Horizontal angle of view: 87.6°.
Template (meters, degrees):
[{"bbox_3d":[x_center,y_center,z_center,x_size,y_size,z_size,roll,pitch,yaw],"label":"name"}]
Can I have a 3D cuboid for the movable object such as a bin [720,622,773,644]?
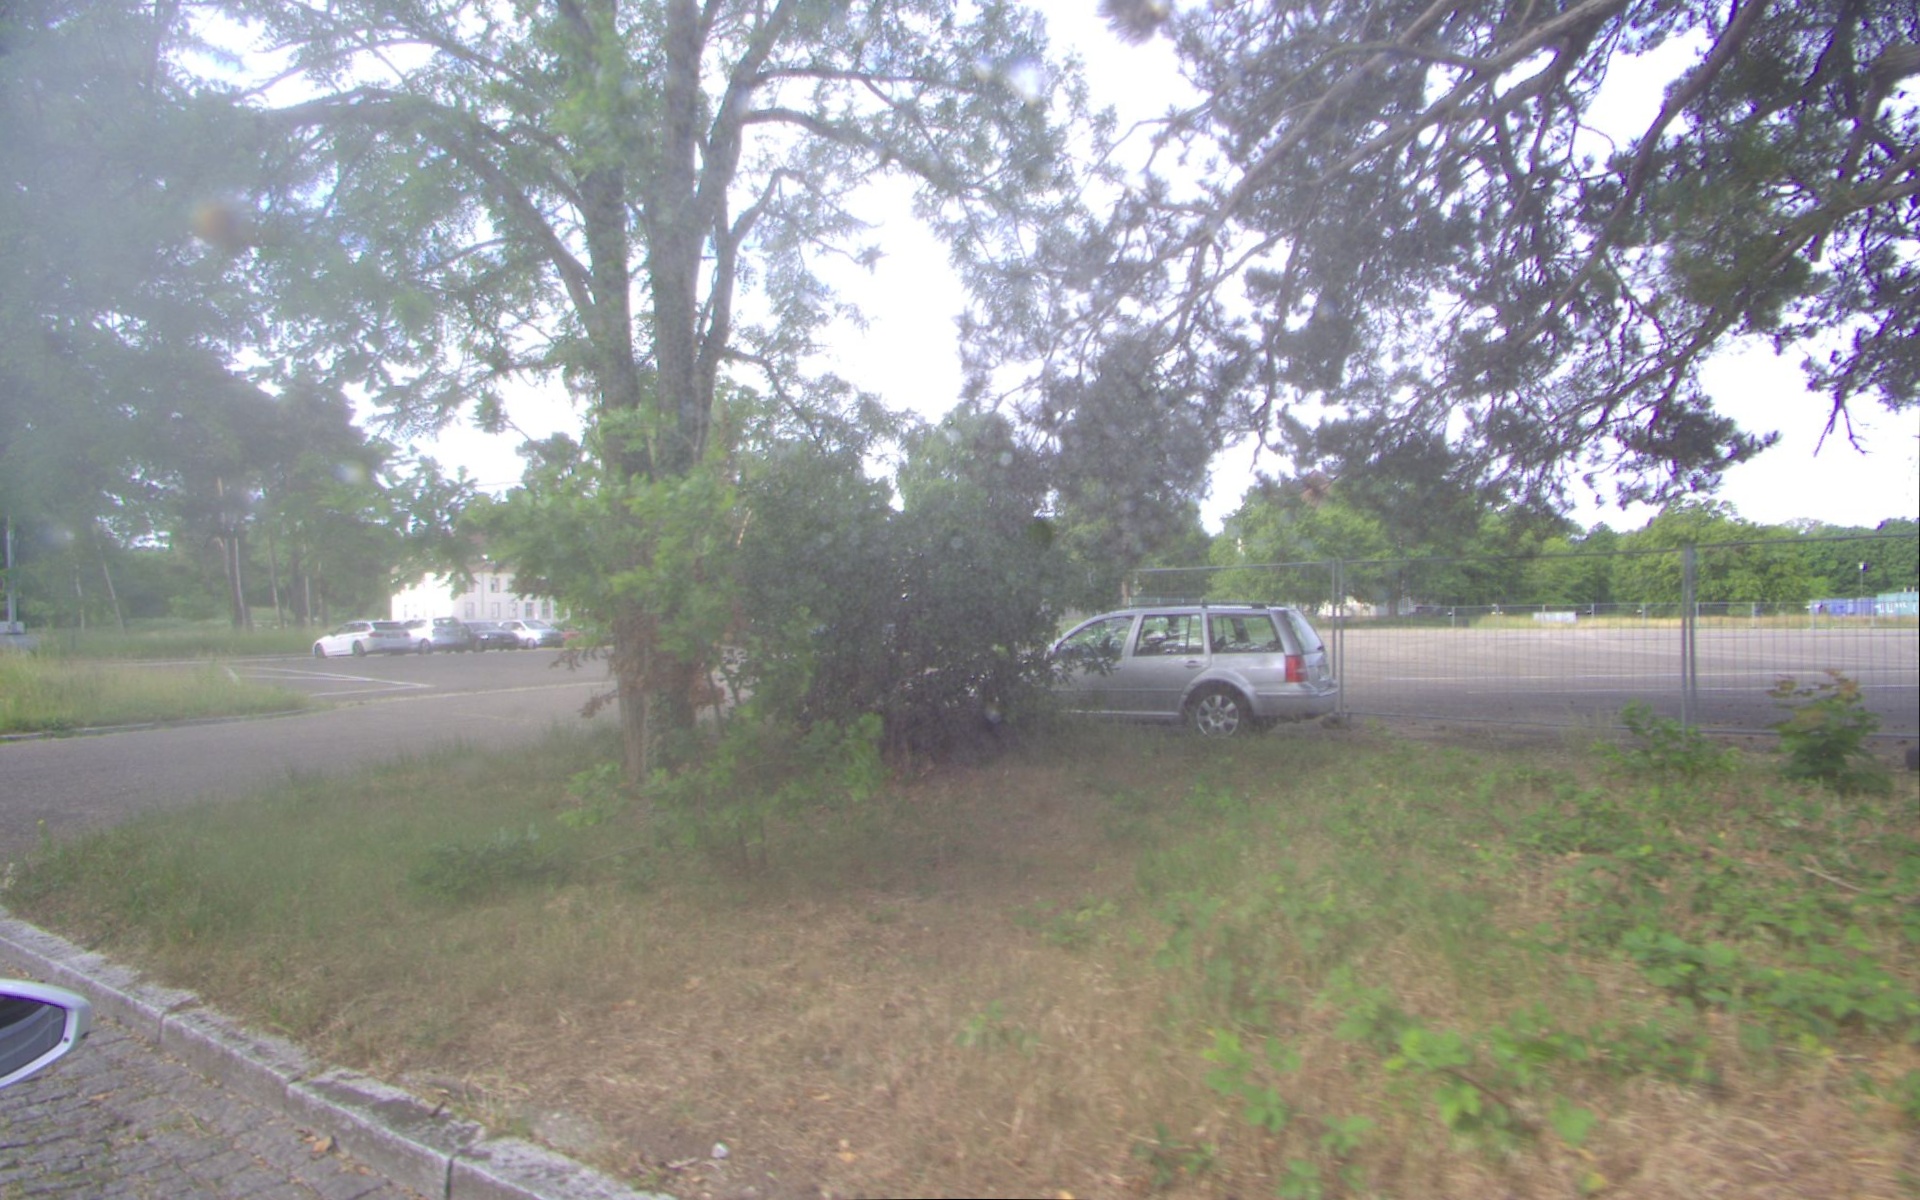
[{"bbox_3d":[-8.722,1.332,40.877,1.928,0.836,1.181,-1,-1,37],"label":"movable object such as a bin"}]

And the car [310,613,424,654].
[{"bbox_3d":[-23.666,1.328,39.935,4.359,1.500,1.991,-2,-1,29],"label":"car"}]

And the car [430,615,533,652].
[{"bbox_3d":[-21.317,1.512,44.579,4.359,1.500,1.991,-2,-1,29],"label":"car"}]

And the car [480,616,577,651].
[{"bbox_3d":[-20.301,1.592,47.093,4.359,1.542,1.992,-2,-3,29],"label":"car"}]

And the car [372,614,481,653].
[{"bbox_3d":[-22.484,1.416,42.162,4.359,1.500,1.991,-2,-1,29],"label":"car"}]

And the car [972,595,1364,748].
[{"bbox_3d":[2.277,0.752,11.249,4.014,1.444,1.645,-1,-3,31],"label":"car"}]
